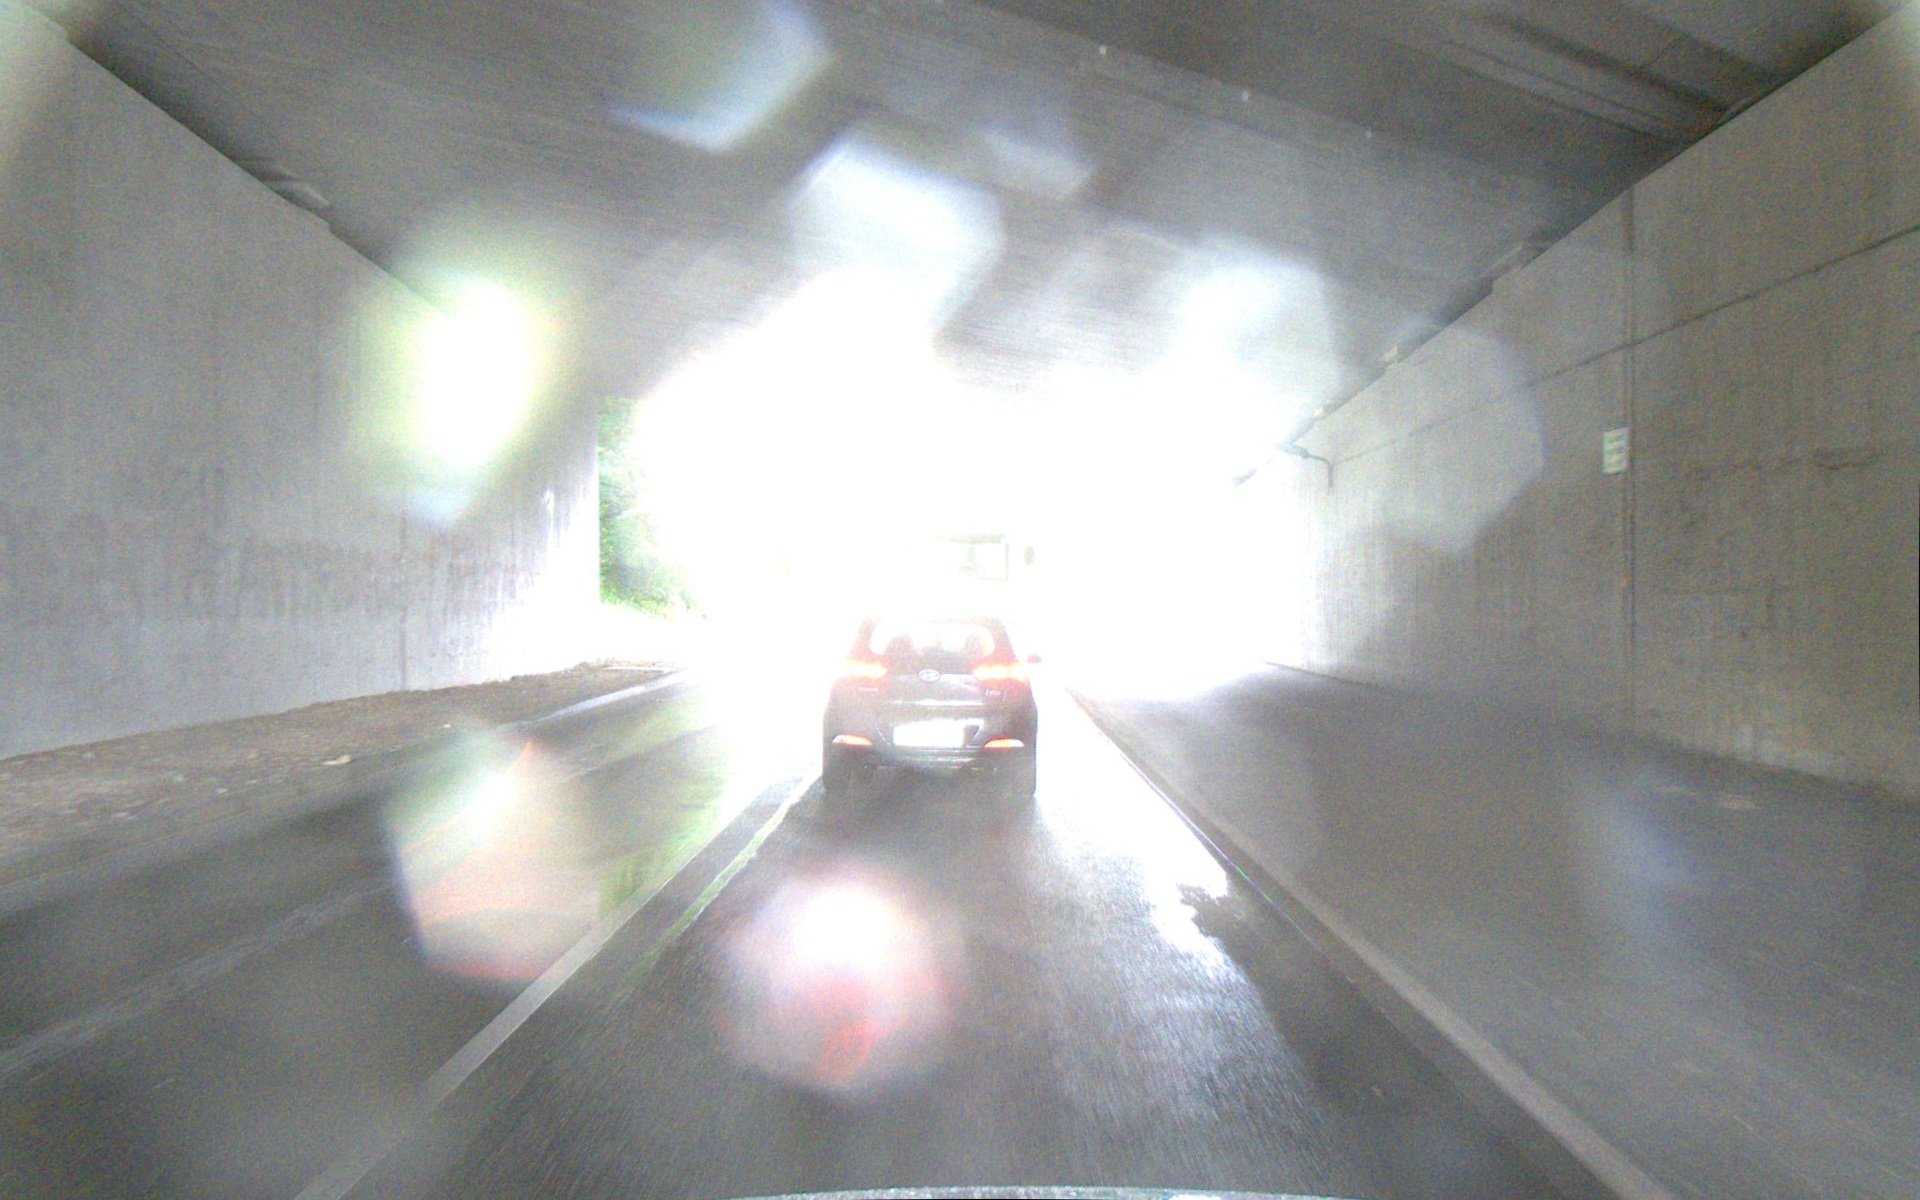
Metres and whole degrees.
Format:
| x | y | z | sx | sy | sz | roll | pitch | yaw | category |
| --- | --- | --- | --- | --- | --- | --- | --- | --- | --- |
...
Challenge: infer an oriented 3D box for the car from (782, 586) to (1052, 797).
| x | y | z | sx | sy | sz | roll | pitch | yaw | category |
| --- | --- | --- | --- | --- | --- | --- | --- | --- | --- |
| -0.418 | 0.673 | 14.227 | 1.954 | 1.513 | 3.998 | 2 | 0 | -3 | car |

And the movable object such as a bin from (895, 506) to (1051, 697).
| x | y | z | sx | sy | sz | roll | pitch | yaw | category |
| --- | --- | --- | --- | --- | --- | --- | --- | --- | --- |
| 0.147 | 0.009 | 27.401 | 2.200 | 2.716 | 6.625 | 2 | 0 | -1 | movable object such as a bin |

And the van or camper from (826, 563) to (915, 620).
| x | y | z | sx | sy | sz | roll | pitch | yaw | category |
| --- | --- | --- | --- | --- | --- | --- | --- | --- | --- |
| -3.573 | -0.362 | 65.373 | 1.967 | 2.135 | 4.657 | 2 | 0 | -24 | van or camper |
